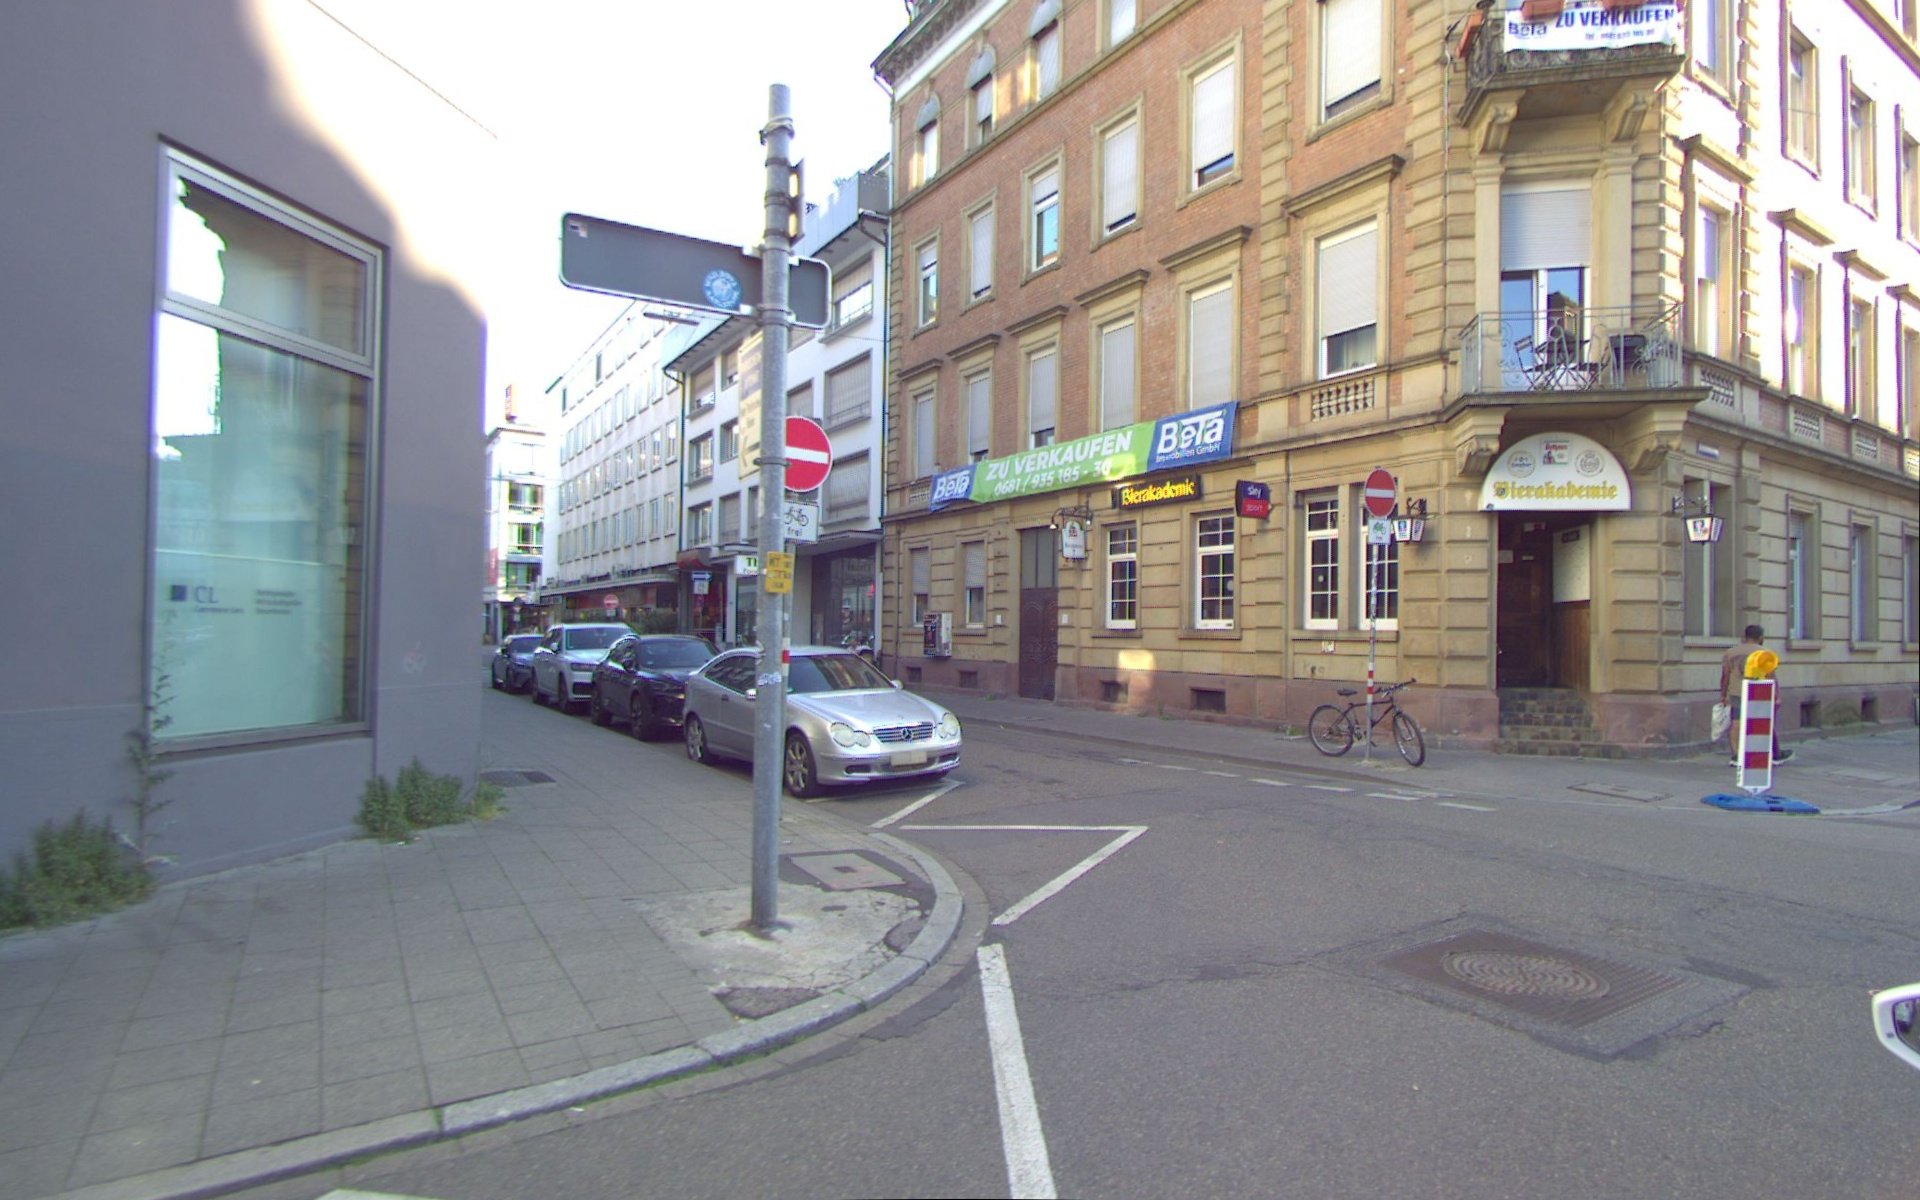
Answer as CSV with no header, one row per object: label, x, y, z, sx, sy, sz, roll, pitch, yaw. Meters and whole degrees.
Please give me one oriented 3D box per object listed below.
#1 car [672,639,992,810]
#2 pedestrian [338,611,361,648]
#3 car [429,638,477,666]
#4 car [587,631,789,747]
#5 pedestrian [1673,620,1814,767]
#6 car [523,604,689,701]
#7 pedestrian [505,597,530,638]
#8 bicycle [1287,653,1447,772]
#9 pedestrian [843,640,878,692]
car,-1.641,1.184,11.172,1.738,1.420,4.446,0,-1,-34
pedestrian,-36.967,1.782,60.822,1.024,2.203,0.875,2,-2,-40
car,-21.584,2.203,42.728,1.498,1.073,3.437,2,-2,-32
car,-4.437,1.288,15.943,1.992,1.544,4.082,2,-2,-32
pedestrian,9.825,1.145,12.637,0.997,1.765,0.984,1,-1,-6
car,-7.430,1.038,20.795,2.311,1.767,4.448,2,-2,-32
pedestrian,-29.355,1.159,66.676,1.235,2.648,1.454,2,-1,-33
bicycle,5.035,1.349,12.531,0.654,1.292,1.745,-2,1,-36
pedestrian,-2.692,1.767,27.073,0.824,1.357,0.803,1,-1,-12
